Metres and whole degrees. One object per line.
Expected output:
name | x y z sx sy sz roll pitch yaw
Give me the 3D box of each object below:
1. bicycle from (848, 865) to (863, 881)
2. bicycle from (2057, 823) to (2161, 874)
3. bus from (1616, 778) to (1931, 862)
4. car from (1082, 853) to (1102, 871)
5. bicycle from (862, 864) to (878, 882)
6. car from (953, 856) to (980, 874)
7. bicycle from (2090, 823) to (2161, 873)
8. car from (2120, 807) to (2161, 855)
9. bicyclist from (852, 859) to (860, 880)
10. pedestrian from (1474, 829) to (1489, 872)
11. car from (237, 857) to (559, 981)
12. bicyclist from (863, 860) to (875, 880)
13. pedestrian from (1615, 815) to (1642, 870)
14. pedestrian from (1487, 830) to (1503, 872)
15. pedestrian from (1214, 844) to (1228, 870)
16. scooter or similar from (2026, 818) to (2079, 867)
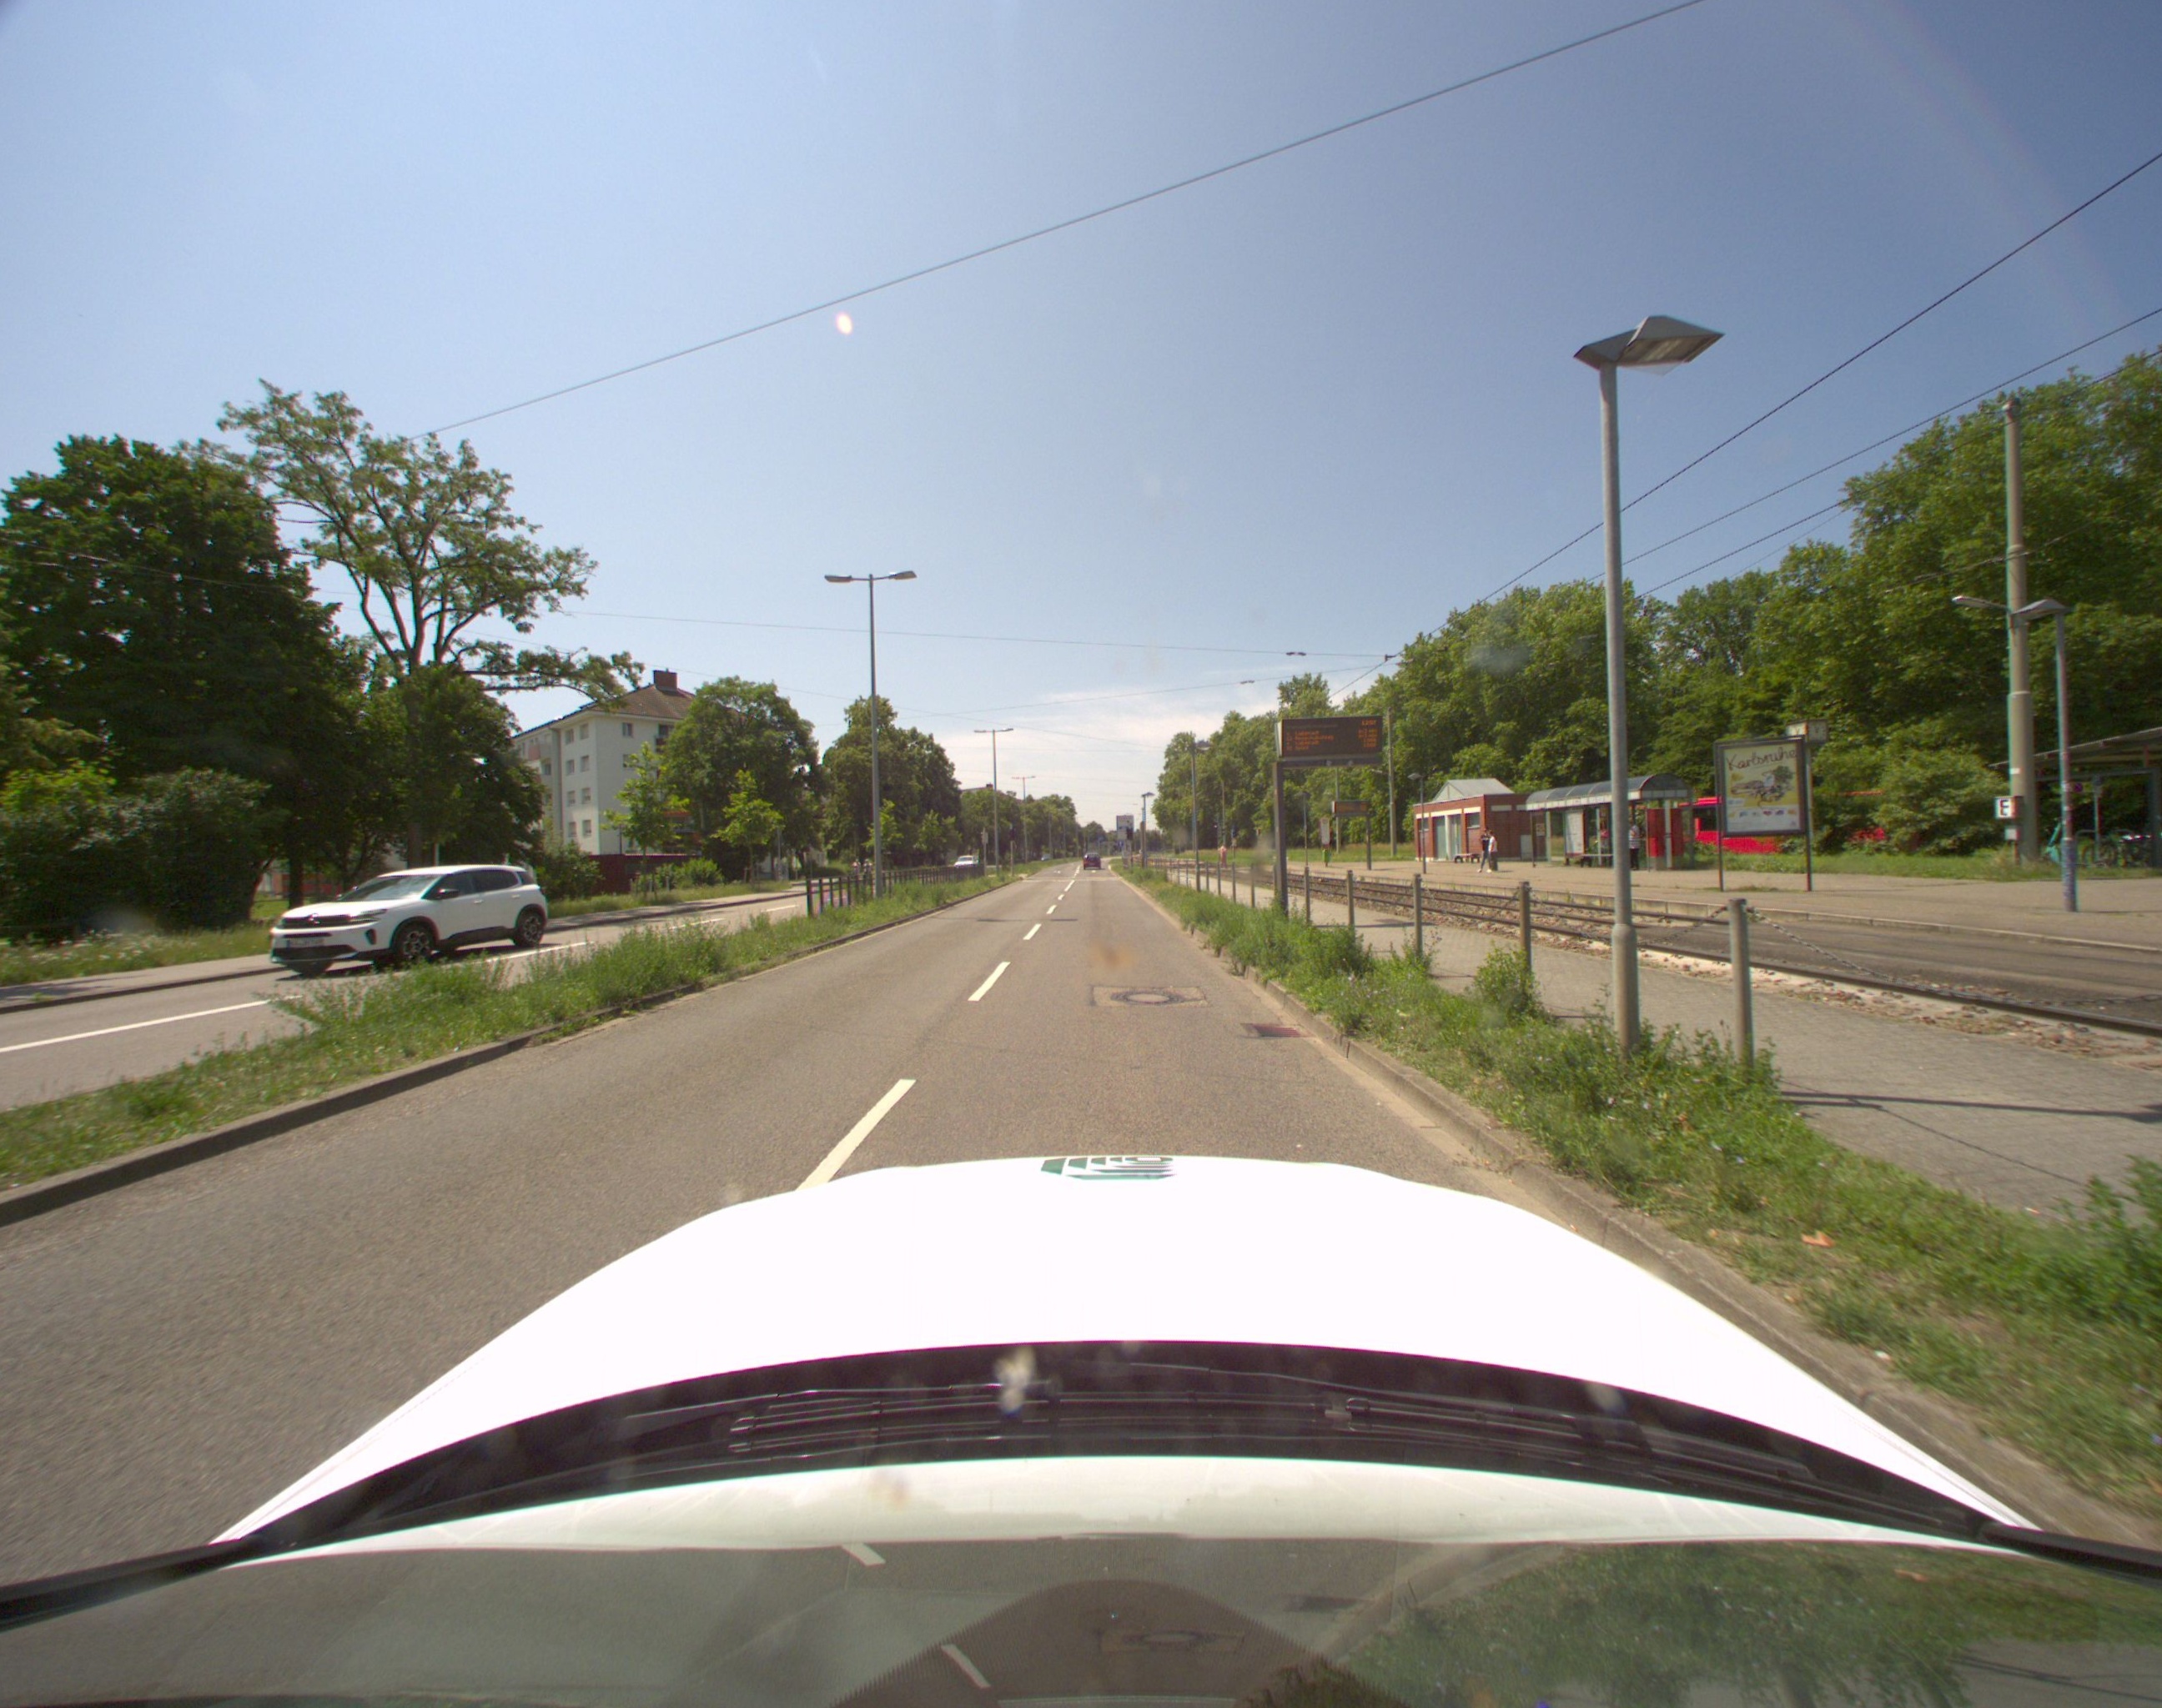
bicycle | -15.142 1.264 54.707 0.552 1.094 1.380 -1 -1 2
bicycle | 23.821 -0.145 18.543 0.595 1.087 2.192 -2 2 2
bus | 33.635 -1.375 40.814 2.767 3.439 12.366 0 -1 -18
car | 1.033 0.726 74.787 1.696 1.477 3.717 -2 0 1
bicycle | -14.234 1.270 54.874 0.586 1.133 1.616 -2 0 1
car | -10.895 1.060 77.760 1.815 1.572 4.347 -2 0 1
bicycle | 24.589 -0.143 18.534 0.595 1.087 2.192 -2 2 2
car | 38.135 -0.854 26.649 2.000 1.629 4.694 -2 0 -20
bicyclist | -15.128 1.053 54.754 0.356 1.392 0.441 0 0 3
pedestrian | 15.579 -0.120 31.675 0.358 1.646 0.446 -1 -1 4
car | -11.701 1.011 14.483 1.853 1.758 4.480 -3 -1 1
bicyclist | -14.242 1.071 54.738 0.543 1.346 0.755 -2 0 0
pedestrian | 18.134 -0.373 26.989 0.380 1.774 0.740 -1 -1 4
pedestrian | 15.722 -0.106 30.899 0.358 1.597 0.483 -1 -1 4
pedestrian | 9.507 0.206 55.307 0.635 1.759 0.813 0 -1 -13
scooter or similar | 22.827 -0.264 19.140 0.244 1.135 0.751 -2 1 -21
